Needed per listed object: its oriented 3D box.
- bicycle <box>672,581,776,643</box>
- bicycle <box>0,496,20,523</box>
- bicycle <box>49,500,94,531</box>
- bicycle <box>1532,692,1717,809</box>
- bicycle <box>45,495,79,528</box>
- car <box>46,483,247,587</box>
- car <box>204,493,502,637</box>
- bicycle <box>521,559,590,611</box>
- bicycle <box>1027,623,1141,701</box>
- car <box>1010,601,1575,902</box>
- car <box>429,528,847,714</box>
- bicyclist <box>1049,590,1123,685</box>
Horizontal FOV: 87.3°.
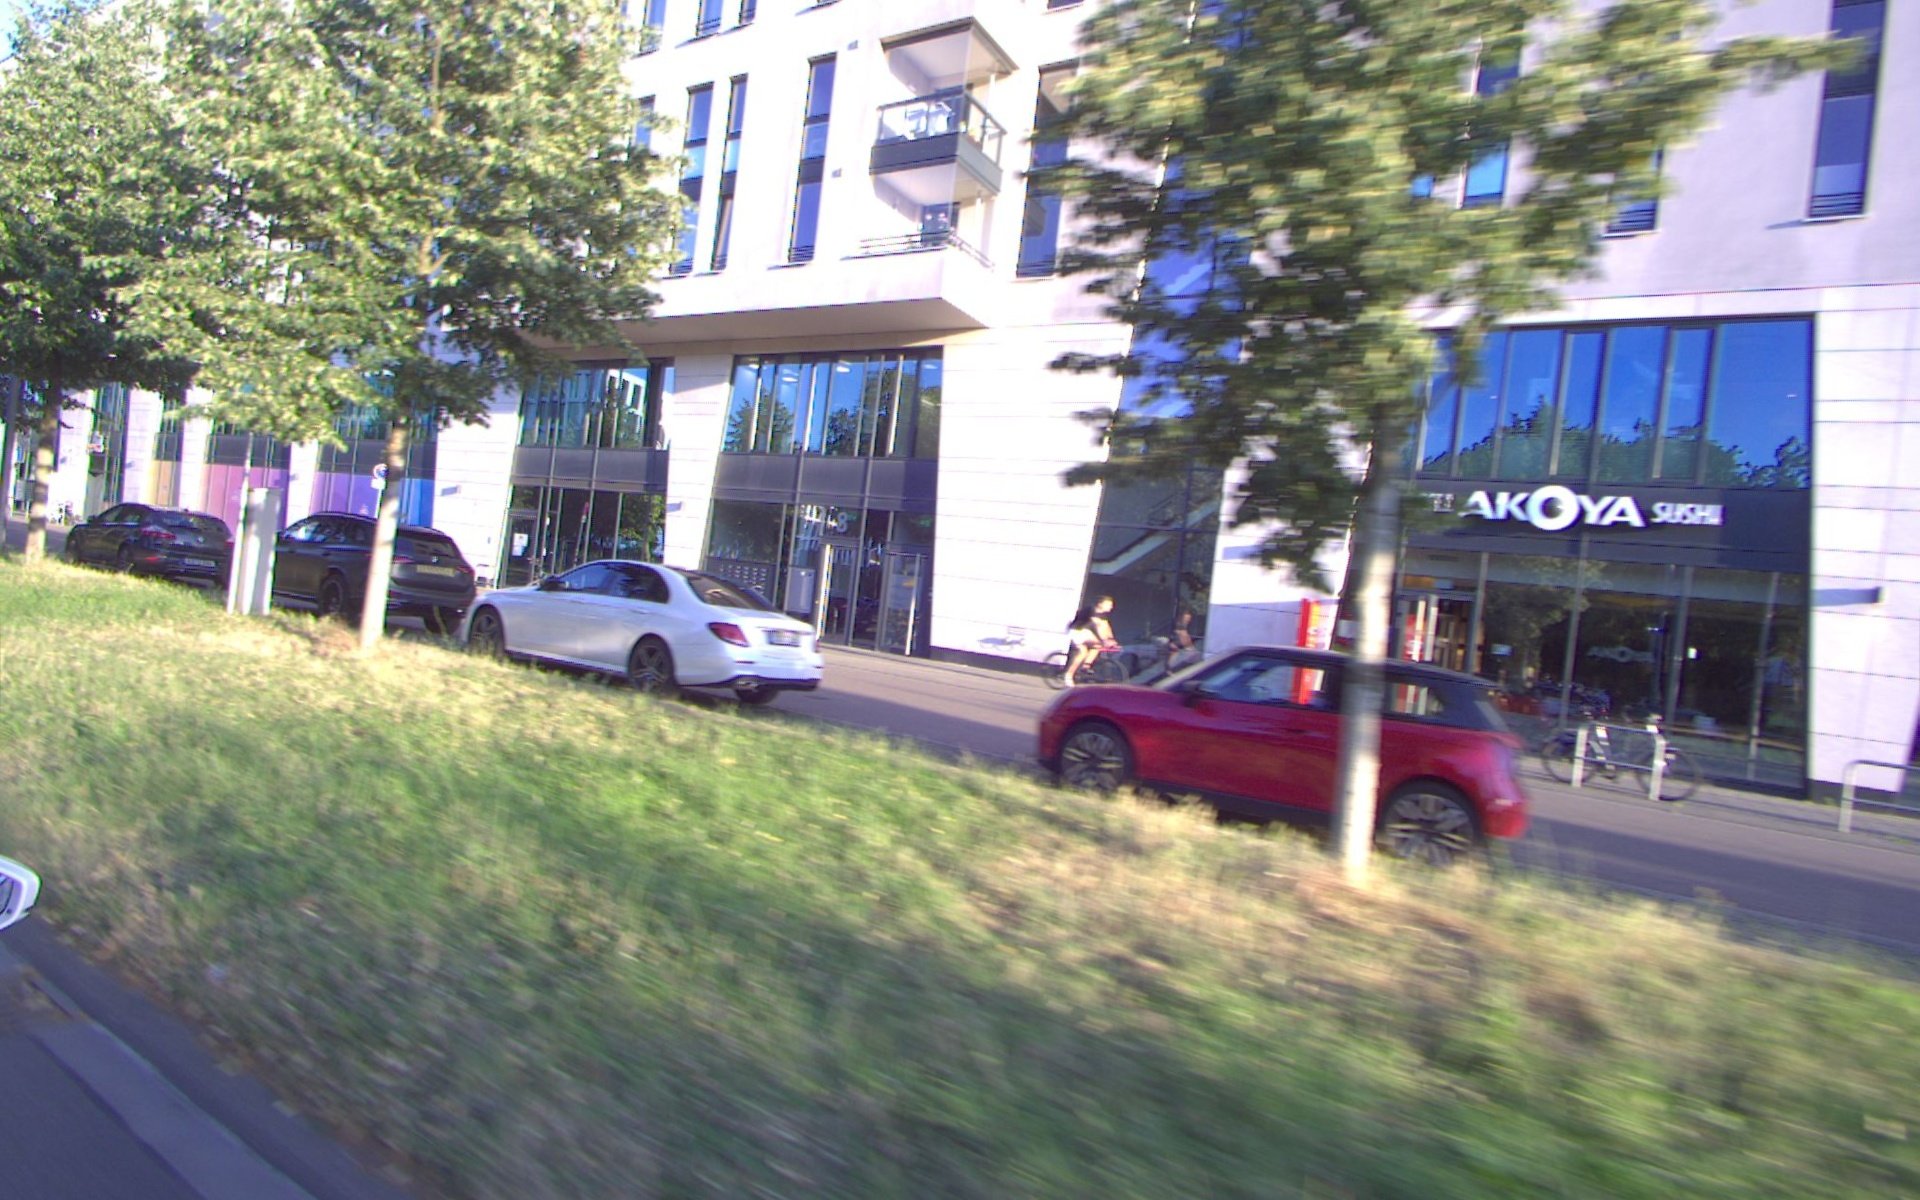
[{"bbox_3d":[-4.986,0.250,21.177,2.223,1.046,0.621,7,1,31],"label":"bicycle"},{"bbox_3d":[-42.375,-4.028,44.370,1.822,1.075,0.534,7,2,19],"label":"bicycle"},{"bbox_3d":[-36.888,-3.515,41.775,1.822,1.075,0.534,7,2,19],"label":"bicycle"},{"bbox_3d":[8.489,1.902,12.953,1.837,1.143,0.547,7,2,30],"label":"bicycle"},{"bbox_3d":[-37.018,-3.650,41.473,1.751,1.179,0.538,7,3,32],"label":"bicycle"},{"bbox_3d":[-16.095,-1.303,19.862,4.162,1.518,1.727,7,-1,32],"label":"car"},{"bbox_3d":[-9.771,-0.595,16.097,4.740,1.642,1.958,7,-2,31],"label":"car"},{"bbox_3d":[-9.758,-0.358,24.263,1.584,1.073,0.534,7,1,26],"label":"bicycle"},{"bbox_3d":[2.214,1.105,18.099,1.882,1.132,0.543,7,1,35],"label":"bicycle"},{"bbox_3d":[2.618,1.036,8.198,3.893,1.519,1.811,7,0,31],"label":"car"},{"bbox_3d":[-3.976,0.193,12.129,4.926,1.519,1.924,7,0,31],"label":"car"},{"bbox_3d":[2.263,0.674,18.101,1.003,1.588,0.544,7,1,35],"label":"bicyclist"}]
